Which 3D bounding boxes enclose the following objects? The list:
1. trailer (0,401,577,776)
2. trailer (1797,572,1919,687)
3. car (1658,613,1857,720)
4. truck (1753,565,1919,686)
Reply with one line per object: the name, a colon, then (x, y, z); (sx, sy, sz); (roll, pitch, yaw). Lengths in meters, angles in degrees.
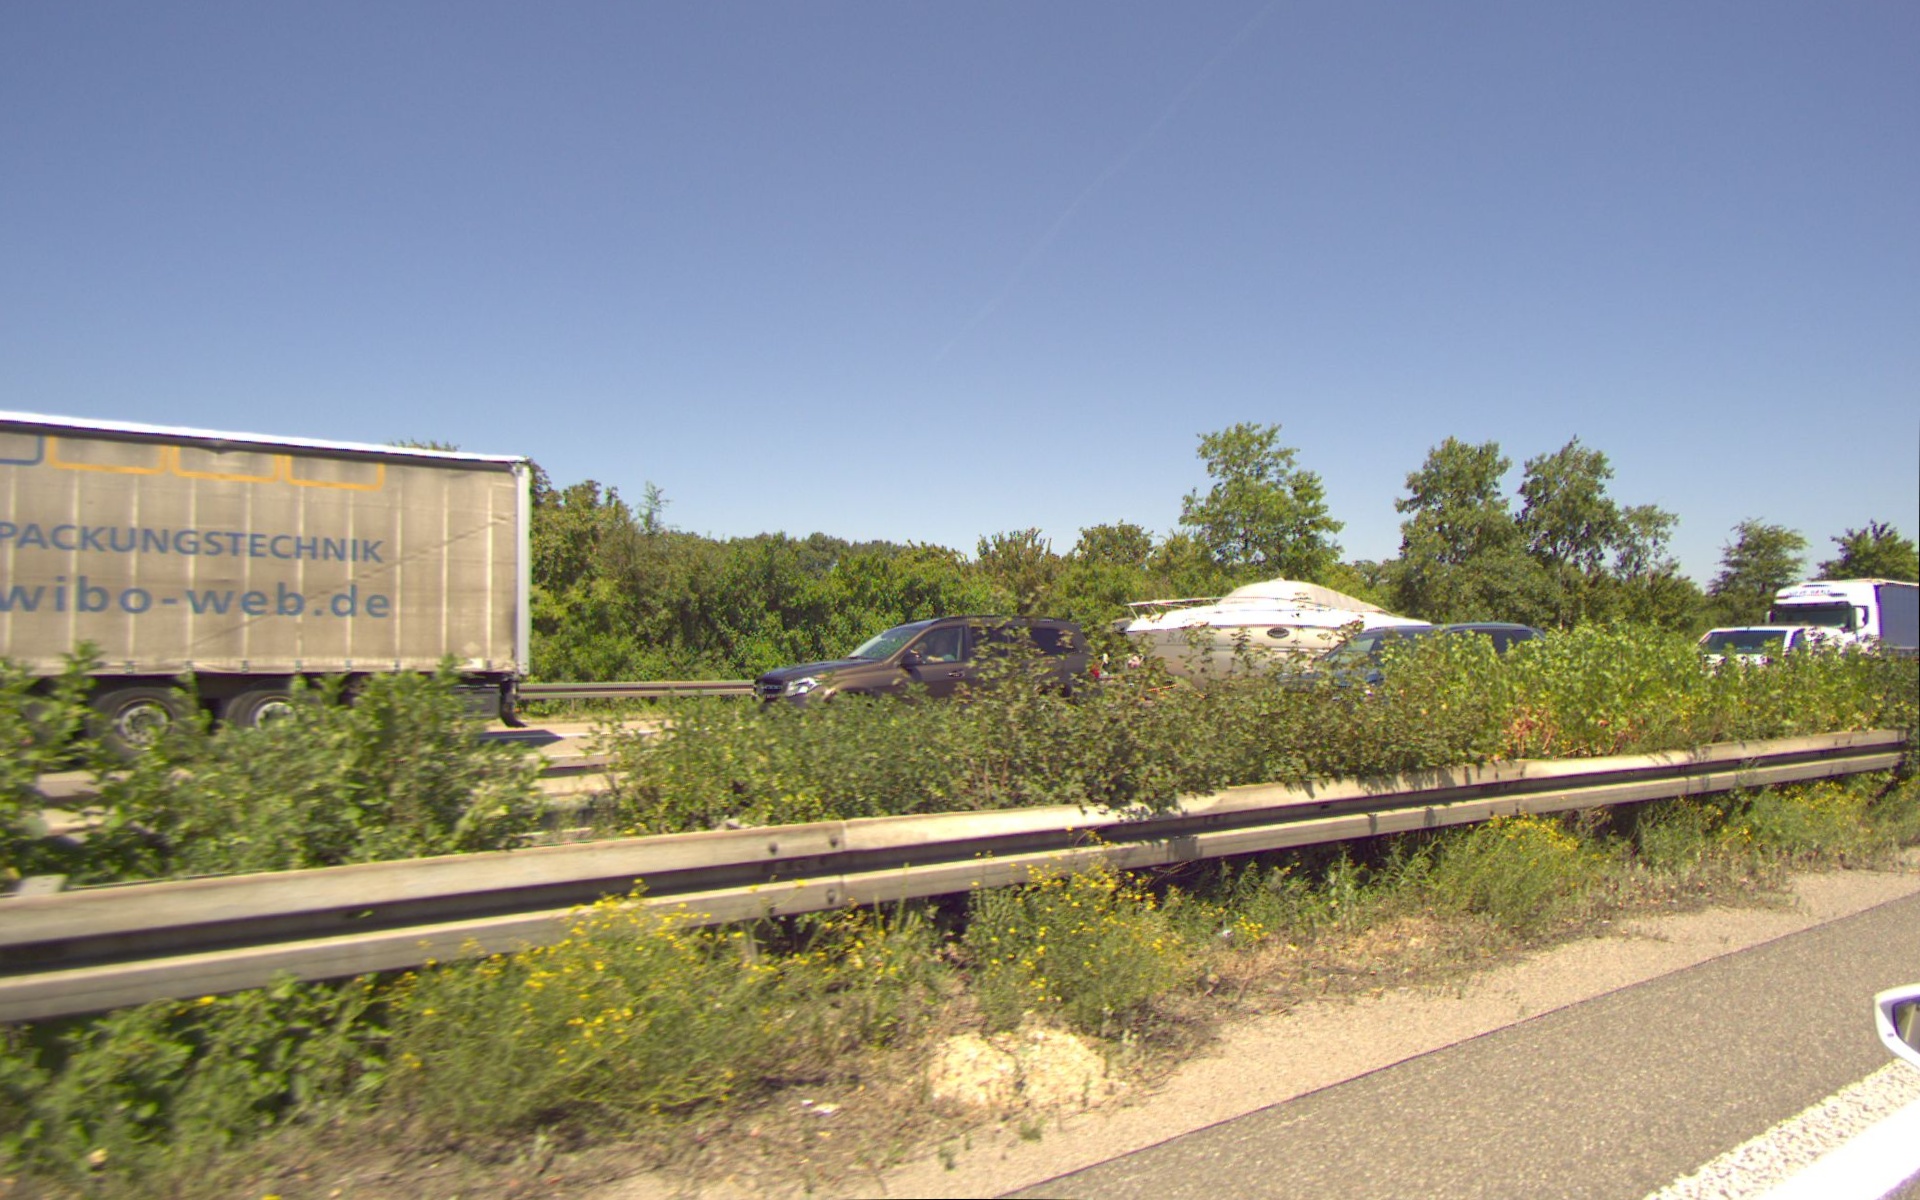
trailer: (-12.091, -0.088, 11.850); (13.886, 4.156, 2.745); (2, -4, -30)
trailer: (40.190, 1.508, 42.463); (13.577, 4.266, 2.963); (4, -4, -30)
car: (17.575, 1.395, 22.094); (4.661, 2.100, 1.982); (2, 0, -32)
truck: (33.828, 1.105, 38.732); (6.238, 4.266, 2.992); (3, -4, -30)
